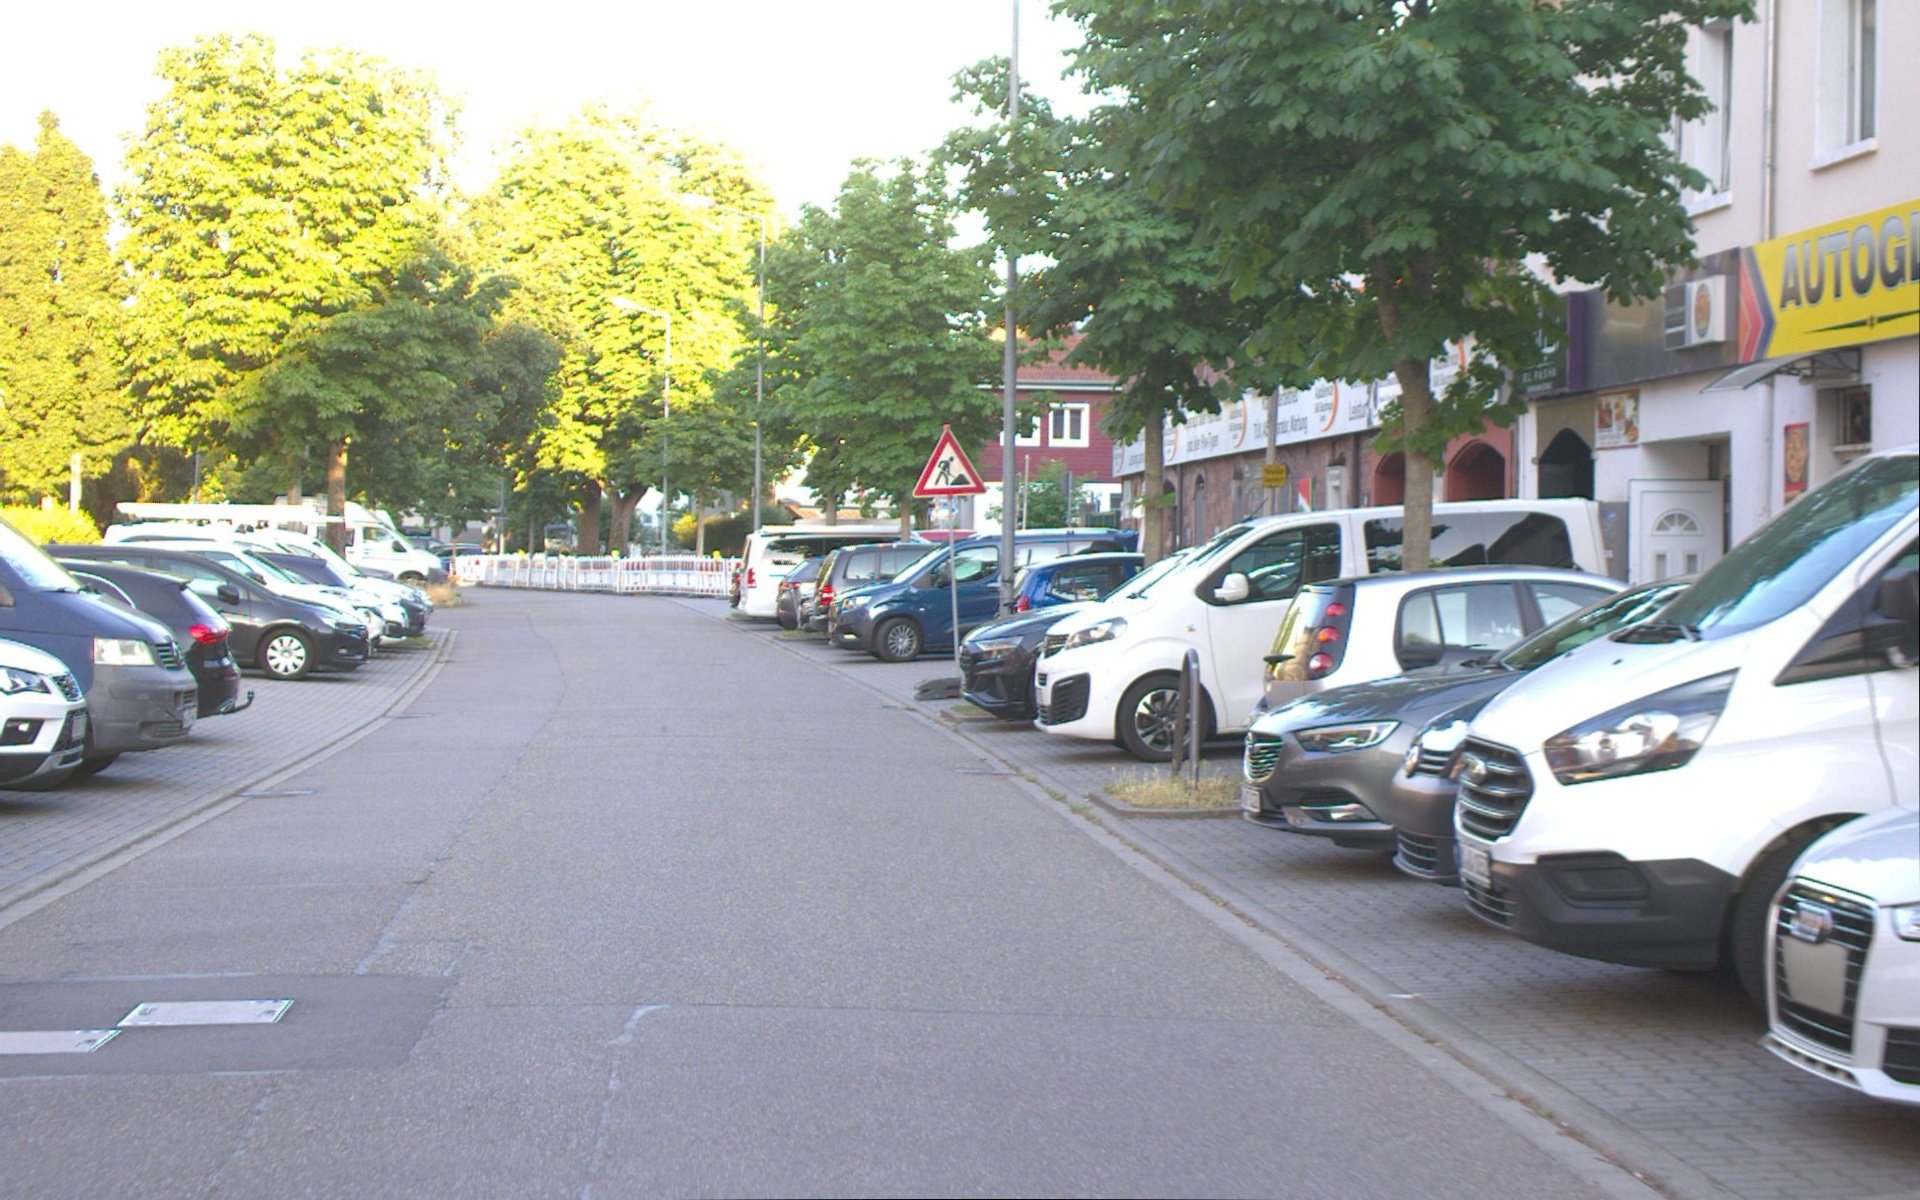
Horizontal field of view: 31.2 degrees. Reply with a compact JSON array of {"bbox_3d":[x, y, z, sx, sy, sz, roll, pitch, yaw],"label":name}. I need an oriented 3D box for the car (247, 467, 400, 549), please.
[{"bbox_3d":[-19.651,-2.831,106.031,4.501,2.422,2.001,1,0,-14],"label":"car"}]

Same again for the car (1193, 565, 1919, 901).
[{"bbox_3d":[3.703,0.602,17.425,4.720,1.491,2.000,-2,0,-6],"label":"car"}]

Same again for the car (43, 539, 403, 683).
[{"bbox_3d":[-9.307,0.125,43.703,4.242,1.615,1.813,2,1,-6],"label":"car"}]

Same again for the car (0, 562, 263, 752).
[{"bbox_3d":[-7.817,0.400,27.846,4.137,1.411,1.739,3,0,-9],"label":"car"}]

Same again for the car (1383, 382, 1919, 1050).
[{"bbox_3d":[4.113,0.398,11.976,4.960,2.094,2.151,1,0,-1],"label":"car"}]

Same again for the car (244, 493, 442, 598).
[{"bbox_3d":[-15.583,-1.376,87.047,4.731,2.561,2.000,1,0,-5],"label":"car"}]

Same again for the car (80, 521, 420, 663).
[{"bbox_3d":[-9.968,-0.125,48.545,4.421,1.796,1.944,2,1,-4],"label":"car"}]

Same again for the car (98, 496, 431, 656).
[{"bbox_3d":[-10.308,-0.376,51.198,4.512,2.063,2.000,3,1,-3],"label":"car"}]

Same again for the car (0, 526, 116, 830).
[{"bbox_3d":[-7.264,0.412,20.274,4.184,1.717,1.902,1,1,-5],"label":"car"}]

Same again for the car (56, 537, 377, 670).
[{"bbox_3d":[-9.925,0.037,46.146,3.986,1.479,1.756,4,1,-7],"label":"car"}]

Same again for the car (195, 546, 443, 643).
[{"bbox_3d":[-10.901,-0.107,58.697,3.986,1.578,1.729,1,0,-5],"label":"car"}]

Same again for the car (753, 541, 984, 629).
[{"bbox_3d":[-1.671,-0.270,61.824,3.986,1.504,1.777,1,0,-7],"label":"car"}]

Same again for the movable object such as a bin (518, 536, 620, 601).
[{"bbox_3d":[-15.013,-1.215,131.730,2.627,2.394,5.199,1,1,-21],"label":"movable object such as a bin"}]

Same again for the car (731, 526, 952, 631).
[{"bbox_3d":[-2.263,-0.413,64.906,3.986,1.897,2.000,1,0,-7],"label":"car"}]

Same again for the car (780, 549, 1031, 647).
[{"bbox_3d":[-0.930,-0.042,57.528,3.944,1.560,1.821,1,0,-10],"label":"car"}]

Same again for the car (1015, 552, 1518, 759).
[{"bbox_3d":[2.575,0.446,29.539,3.986,1.491,1.892,-3,1,-4],"label":"car"}]

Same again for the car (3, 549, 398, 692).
[{"bbox_3d":[-8.995,0.230,41.027,4.407,1.447,1.828,3,0,-8],"label":"car"}]

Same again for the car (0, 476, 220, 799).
[{"bbox_3d":[-7.546,0.208,22.827,4.854,2.048,2.000,1,1,-2],"label":"car"}]

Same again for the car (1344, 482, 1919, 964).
[{"bbox_3d":[3.946,0.439,14.665,4.291,1.852,2.000,-2,1,-2],"label":"car"}]

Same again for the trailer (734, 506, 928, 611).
[{"bbox_3d":[-2.806,-0.892,74.218,3.986,2.180,2.000,1,0,-7],"label":"trailer"}]

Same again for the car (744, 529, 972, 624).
[{"bbox_3d":[-2.031,-0.465,67.466,4.300,1.793,1.905,1,0,-7],"label":"car"}]

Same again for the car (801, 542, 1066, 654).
[{"bbox_3d":[-0.446,-0.042,55.070,3.986,1.613,1.895,-2,1,-7],"label":"car"}]

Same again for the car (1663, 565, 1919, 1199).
[{"bbox_3d":[4.135,0.733,9.260,4.032,1.561,1.722,1,0,-5],"label":"car"}]

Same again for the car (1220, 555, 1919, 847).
[{"bbox_3d":[3.563,0.545,20.068,3.784,1.491,1.681,-2,1,-6],"label":"car"}]

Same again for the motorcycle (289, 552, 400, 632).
[{"bbox_3d":[-11.263,-0.151,62.894,1.985,1.431,0.722,1,0,-11],"label":"motorcycle"}]

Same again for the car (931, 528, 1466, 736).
[{"bbox_3d":[2.172,0.269,32.229,4.694,1.626,2.000,-3,1,-4],"label":"car"}]

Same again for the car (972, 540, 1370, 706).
[{"bbox_3d":[2.246,0.230,37.300,3.986,1.540,1.845,-3,1,-6],"label":"car"}]

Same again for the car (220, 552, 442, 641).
[{"bbox_3d":[-11.126,-0.072,60.994,3.713,1.501,1.690,1,0,-5],"label":"car"}]

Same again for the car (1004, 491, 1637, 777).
[{"bbox_3d":[2.776,0.244,27.221,4.586,1.855,2.012,-4,1,-4],"label":"car"}]

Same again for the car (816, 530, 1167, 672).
[{"bbox_3d":[0.422,-0.017,49.705,4.785,1.748,2.018,-3,2,-7],"label":"car"}]
